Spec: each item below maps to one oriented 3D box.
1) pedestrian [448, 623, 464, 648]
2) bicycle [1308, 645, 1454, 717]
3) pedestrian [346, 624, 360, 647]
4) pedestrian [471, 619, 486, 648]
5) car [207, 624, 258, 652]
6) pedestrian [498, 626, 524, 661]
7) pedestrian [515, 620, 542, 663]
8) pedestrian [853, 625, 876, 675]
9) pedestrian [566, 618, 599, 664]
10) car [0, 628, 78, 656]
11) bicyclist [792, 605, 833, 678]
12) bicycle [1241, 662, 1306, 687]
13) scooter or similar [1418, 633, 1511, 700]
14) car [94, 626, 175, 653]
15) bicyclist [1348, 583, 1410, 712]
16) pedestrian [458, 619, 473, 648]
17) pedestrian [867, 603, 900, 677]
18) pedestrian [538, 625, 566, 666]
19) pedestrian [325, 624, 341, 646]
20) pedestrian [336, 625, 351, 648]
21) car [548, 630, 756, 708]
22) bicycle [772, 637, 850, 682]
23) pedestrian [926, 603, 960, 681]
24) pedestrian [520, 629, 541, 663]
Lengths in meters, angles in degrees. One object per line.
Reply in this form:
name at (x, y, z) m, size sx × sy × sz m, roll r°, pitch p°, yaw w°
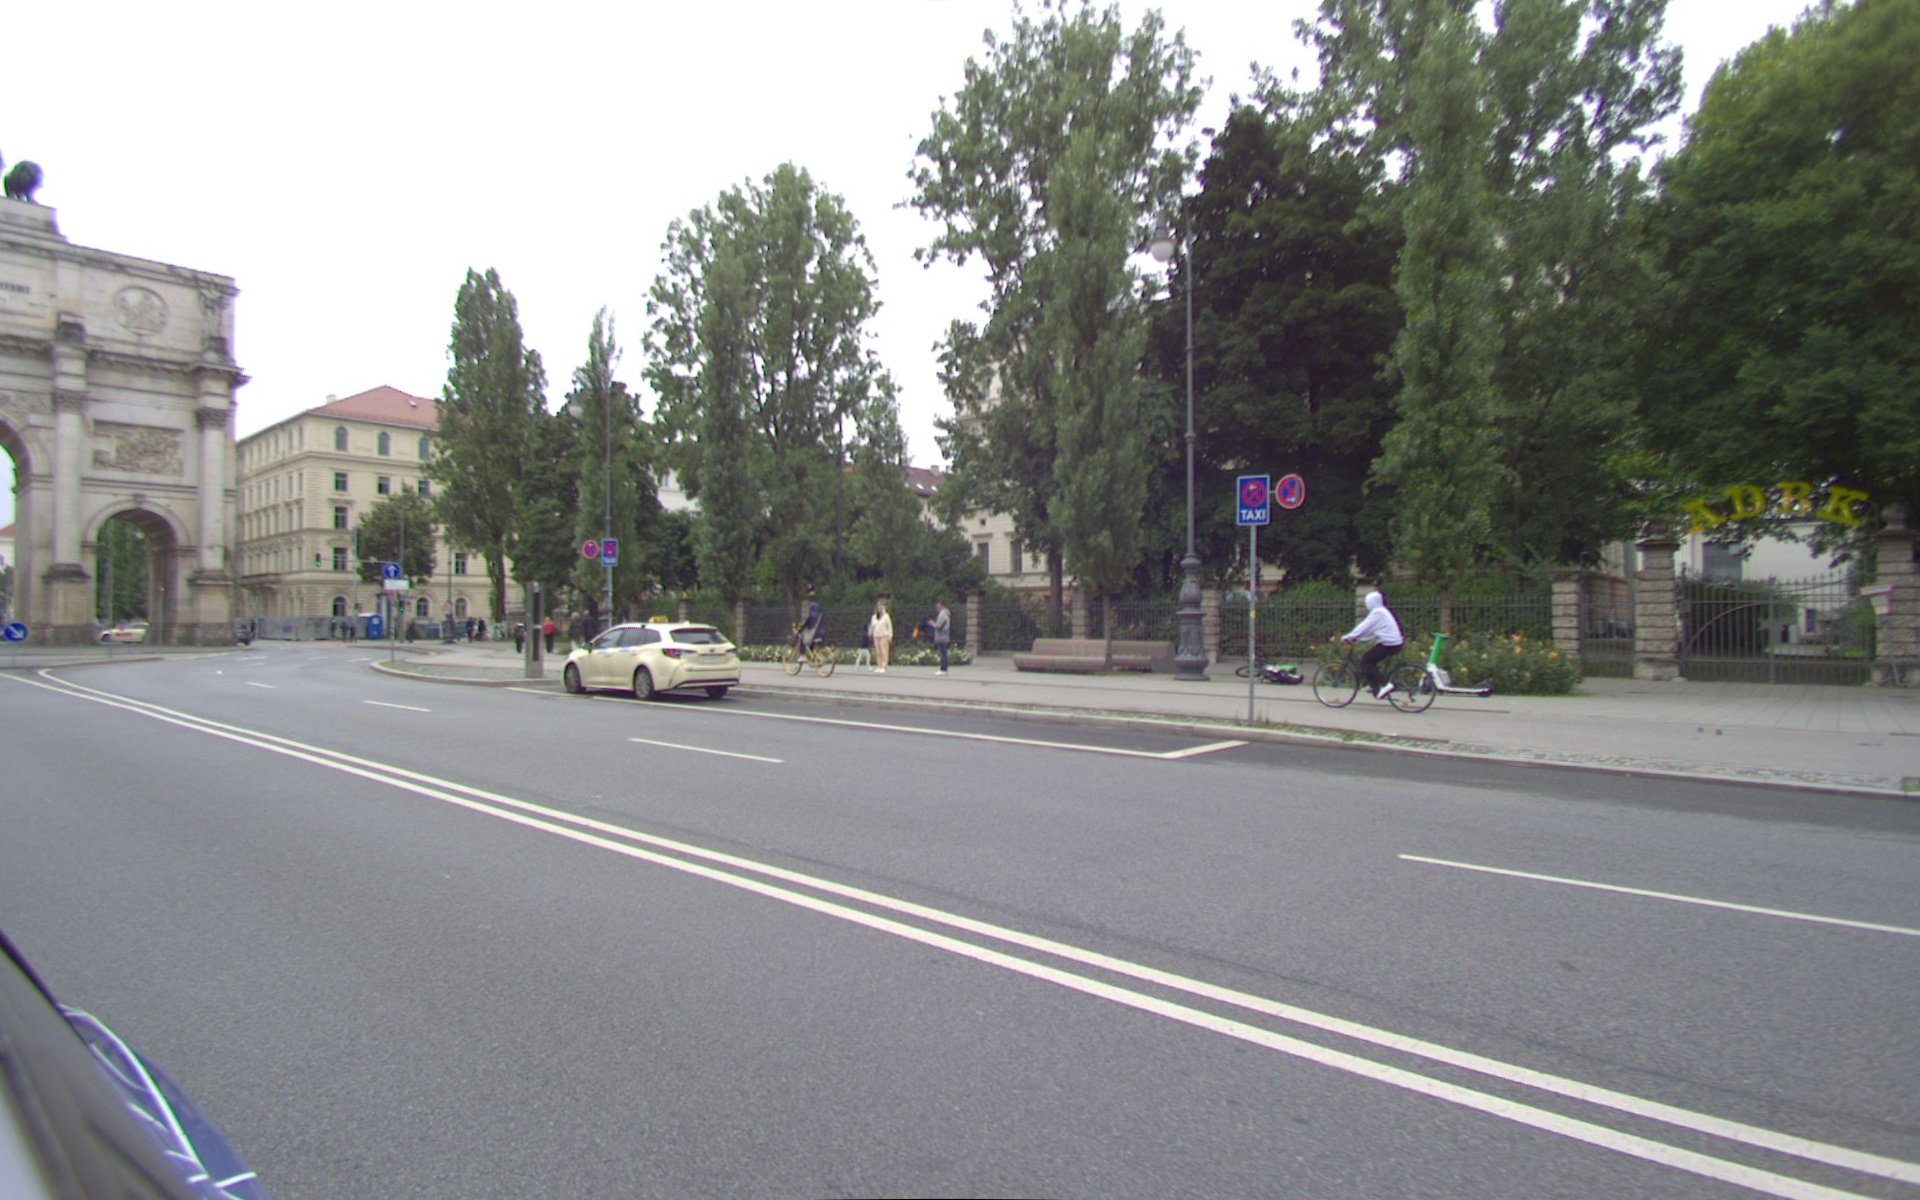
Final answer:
pedestrian at (-37.239, 2.651, 74.770) m, size 0.868 × 1.837 × 0.687 m, roll 1°, pitch -2°, yaw -39°
bicycle at (6.146, 1.164, 14.847) m, size 1.913 × 0.959 × 0.464 m, roll -2°, pitch -1°, yaw 41°
pedestrian at (-48.355, 2.851, 80.656) m, size 0.868 × 1.837 × 0.687 m, roll 1°, pitch -2°, yaw -39°
pedestrian at (-33.933, 2.354, 71.249) m, size 0.758 × 2.029 × 0.888 m, roll 1°, pitch -2°, yaw -39°
car at (-49.048, 2.572, 68.215) m, size 3.998 × 1.830 × 1.973 m, roll -2°, pitch -2°, yaw 41°
pedestrian at (-20.883, 2.014, 47.080) m, size 0.875 × 1.528 × 1.032 m, roll -1°, pitch 0°, yaw -38°
pedestrian at (-18.016, 1.720, 42.242) m, size 0.944 × 1.731 × 1.034 m, roll -1°, pitch 0°, yaw -26°
pedestrian at (-2.378, 1.231, 25.119) m, size 0.524 × 1.220 × 0.585 m, roll 0°, pitch -2°, yaw -10°
pedestrian at (-14.603, 1.570, 39.107) m, size 0.945 × 1.731 × 1.033 m, roll -1°, pitch 0°, yaw -36°
car at (-61.291, 2.783, 66.982) m, size 3.939 × 1.763 × 2.002 m, roll 0°, pitch -2°, yaw -4°
bicyclist at (-3.350, 0.930, 22.987) m, size 0.660 × 1.604 × 0.639 m, roll -2°, pitch -1°, yaw 40°
bicycle at (7.097, 1.667, 22.821) m, size 1.331 × 0.456 × 2.203 m, roll -2°, pitch -2°, yaw 19°
scooter or similar at (9.322, 1.216, 18.709) m, size 1.414 × 1.187 × 0.738 m, roll -2°, pitch -3°, yaw 37°
car at (-56.098, 2.662, 68.789) m, size 3.946 × 1.763 × 1.999 m, roll 0°, pitch -2°, yaw 2°
bicyclist at (6.144, 0.681, 14.851) m, size 0.660 × 1.837 × 0.583 m, roll -2°, pitch -1°, yaw 40°
pedestrian at (-34.546, 2.361, 70.748) m, size 0.758 × 2.029 × 0.888 m, roll 1°, pitch -2°, yaw -39°
pedestrian at (-1.829, 0.959, 24.277) m, size 0.581 × 1.744 × 0.527 m, roll -1°, pitch -2°, yaw 31°
pedestrian at (-19.366, 2.130, 48.062) m, size 0.976 × 1.885 × 1.032 m, roll -1°, pitch 0°, yaw -38°
pedestrian at (-52.116, 2.922, 84.121) m, size 1.017 × 1.837 × 0.883 m, roll 1°, pitch -2°, yaw -41°
pedestrian at (-48.569, 2.853, 79.707) m, size 0.868 × 1.837 × 0.687 m, roll 1°, pitch -2°, yaw -39°
car at (-6.124, 1.277, 19.864) m, size 4.465 × 1.347 × 1.774 m, roll -2°, pitch -2°, yaw 40°
bicycle at (-3.418, 1.343, 23.062) m, size 1.913 × 0.959 × 0.666 m, roll -2°, pitch -1°, yaw 41°
pedestrian at (-0.394, 0.958, 23.234) m, size 0.581 × 1.744 × 0.527 m, roll -1°, pitch -2°, yaw 31°
pedestrian at (-20.184, 2.142, 47.577) m, size 0.718 × 1.528 × 0.843 m, roll -1°, pitch 0°, yaw -38°
